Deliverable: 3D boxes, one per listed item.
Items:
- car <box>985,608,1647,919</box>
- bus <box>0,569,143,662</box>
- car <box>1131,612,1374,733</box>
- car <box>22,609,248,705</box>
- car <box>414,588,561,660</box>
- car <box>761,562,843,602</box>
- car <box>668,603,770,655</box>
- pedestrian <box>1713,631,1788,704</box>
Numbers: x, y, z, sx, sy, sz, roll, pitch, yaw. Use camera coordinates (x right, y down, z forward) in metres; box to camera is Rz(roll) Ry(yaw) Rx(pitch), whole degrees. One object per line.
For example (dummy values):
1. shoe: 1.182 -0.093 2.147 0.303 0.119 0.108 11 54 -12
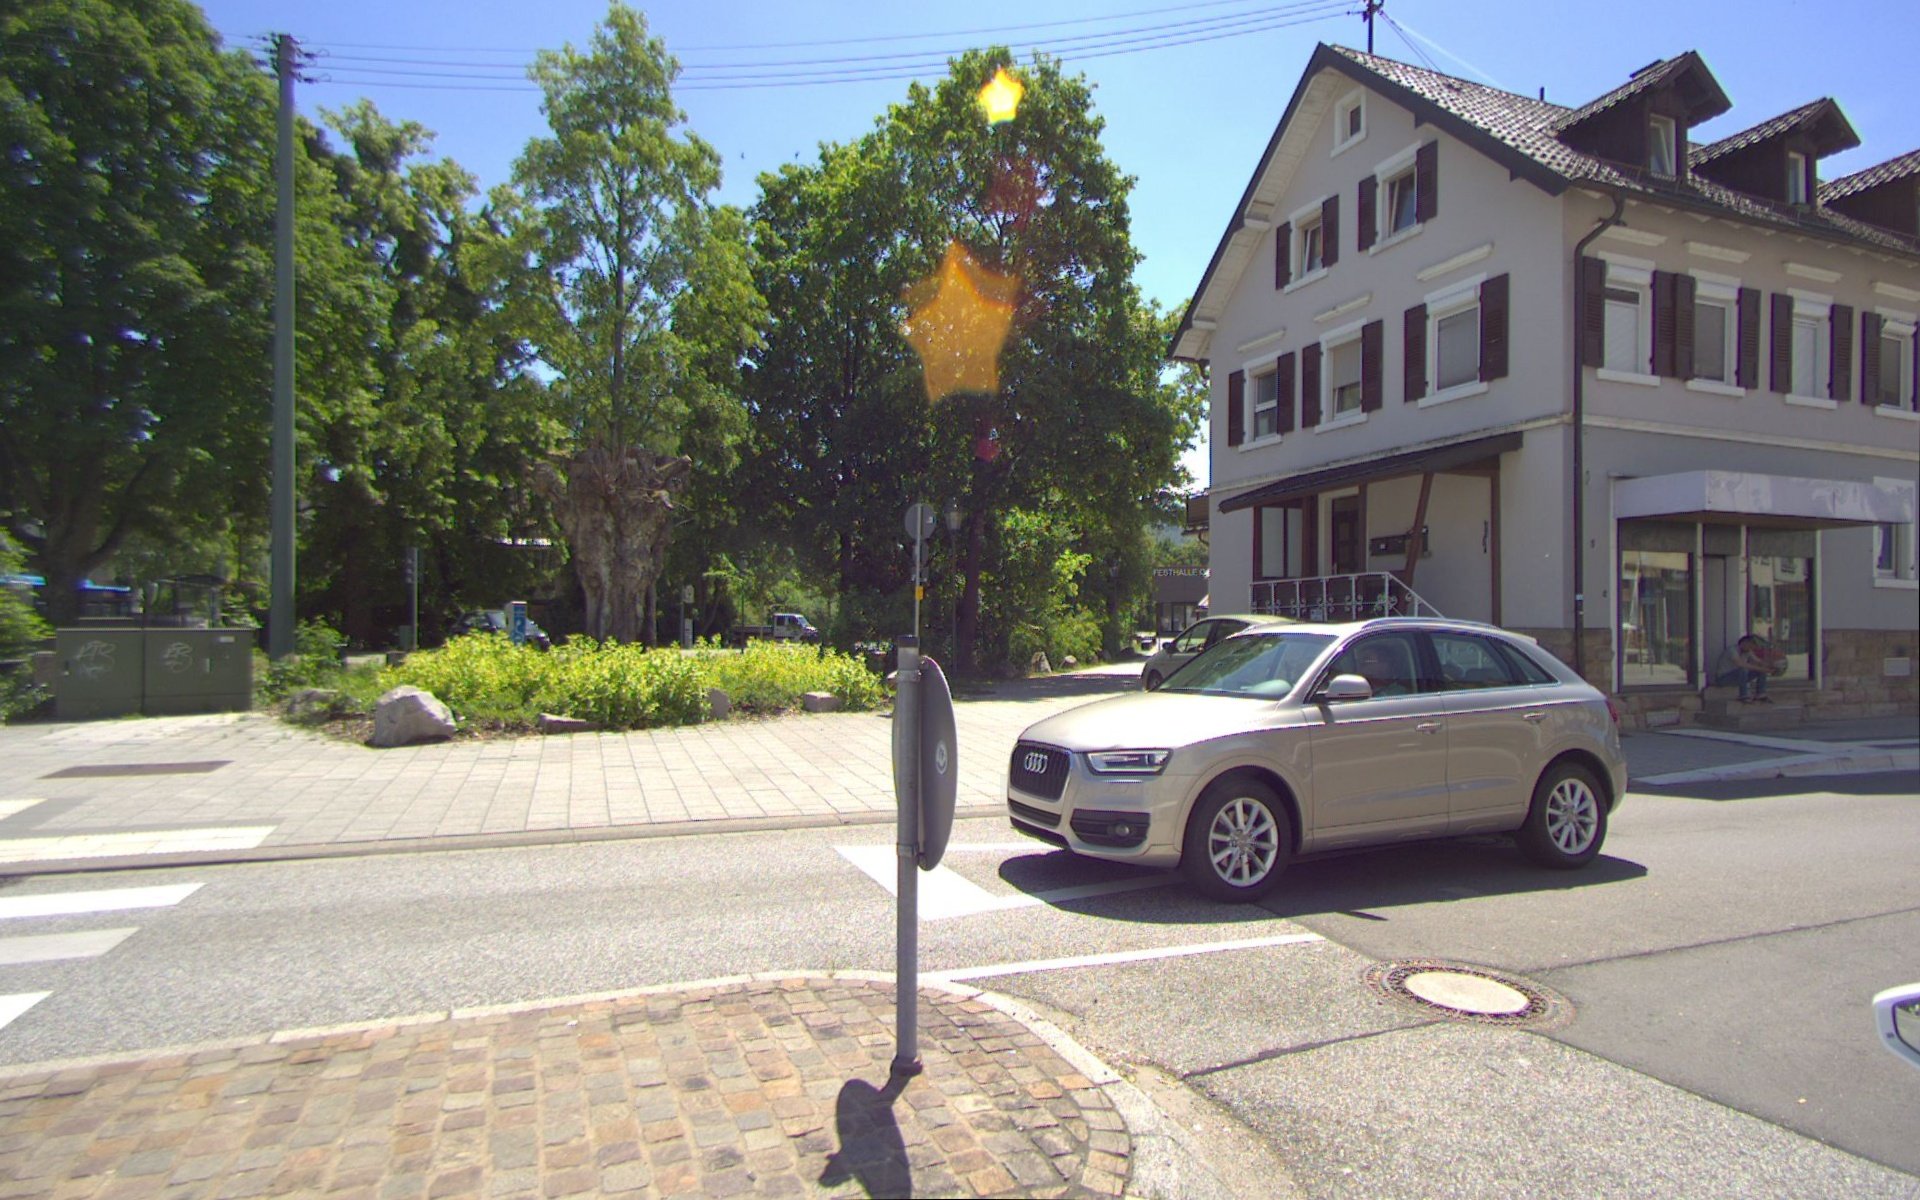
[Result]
1. car: 2.337 0.894 6.634 4.024 1.563 1.672 1 -3 -22
2. bus: -35.903 0.544 36.936 3.664 3.213 17.978 3 -2 -21
3. car: 4.482 1.039 16.061 1.731 1.661 3.982 1 -1 -20
4. car: -14.678 0.962 18.075 3.030 1.573 1.617 0 -1 -37
5. car: -14.217 0.689 30.222 3.926 2.040 1.998 0 -1 27
6. car: -8.279 -0.932 52.989 3.920 2.040 2.001 0 -1 3
7. car: -9.846 1.159 40.938 3.935 2.040 1.993 1 -1 -17
8. pedestrian: 12.068 1.013 15.349 0.690 1.068 0.668 1 -1 -25
